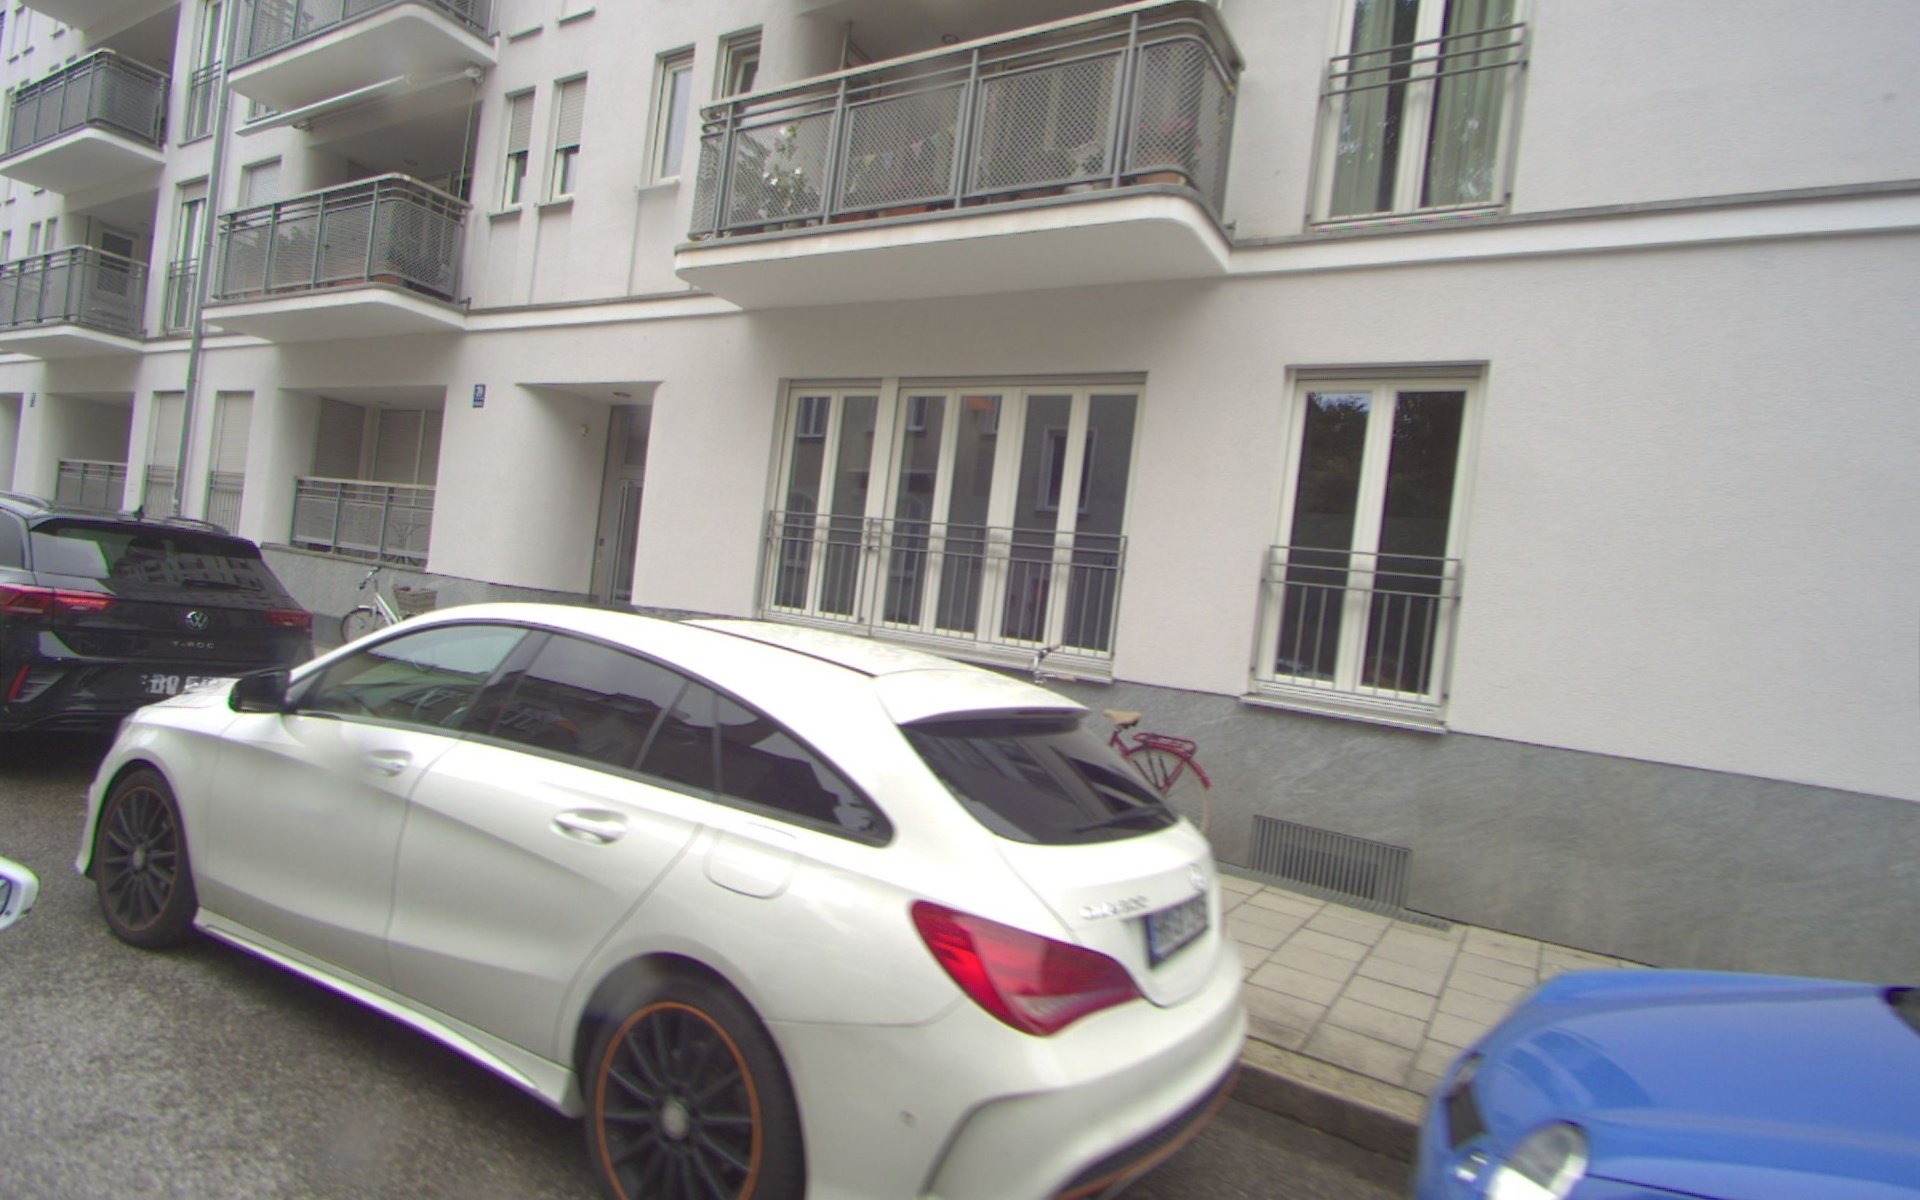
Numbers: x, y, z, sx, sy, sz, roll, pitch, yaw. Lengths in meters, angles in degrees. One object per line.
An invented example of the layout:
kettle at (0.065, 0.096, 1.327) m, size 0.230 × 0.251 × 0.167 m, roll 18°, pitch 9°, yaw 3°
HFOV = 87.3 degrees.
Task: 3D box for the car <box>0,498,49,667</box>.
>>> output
car at (-10.836, -0.450, 9.631) m, size 4.526 × 1.500 × 1.794 m, roll 7°, pitch -1°, yaw 31°

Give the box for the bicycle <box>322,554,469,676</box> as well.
bicycle at (-6.172, 0.139, 10.960) m, size 1.780 × 1.113 × 0.569 m, roll 7°, pitch 4°, yaw 32°

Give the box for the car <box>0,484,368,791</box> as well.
car at (-6.116, 0.075, 6.798) m, size 3.954 × 1.550 × 1.842 m, roll 7°, pitch -2°, yaw 31°

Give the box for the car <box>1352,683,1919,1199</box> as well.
car at (2.638, 1.144, 1.481) m, size 3.656 × 1.439 × 1.719 m, roll 8°, pitch -1°, yaw 30°

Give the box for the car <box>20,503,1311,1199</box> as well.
car at (-1.229, 0.684, 3.529) m, size 4.301 × 1.484 × 1.669 m, roll 7°, pitch -2°, yaw 29°

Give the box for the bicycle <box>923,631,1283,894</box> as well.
bicycle at (0.858, 0.924, 6.266) m, size 1.941 × 1.186 × 0.803 m, roll 7°, pitch 0°, yaw 32°
